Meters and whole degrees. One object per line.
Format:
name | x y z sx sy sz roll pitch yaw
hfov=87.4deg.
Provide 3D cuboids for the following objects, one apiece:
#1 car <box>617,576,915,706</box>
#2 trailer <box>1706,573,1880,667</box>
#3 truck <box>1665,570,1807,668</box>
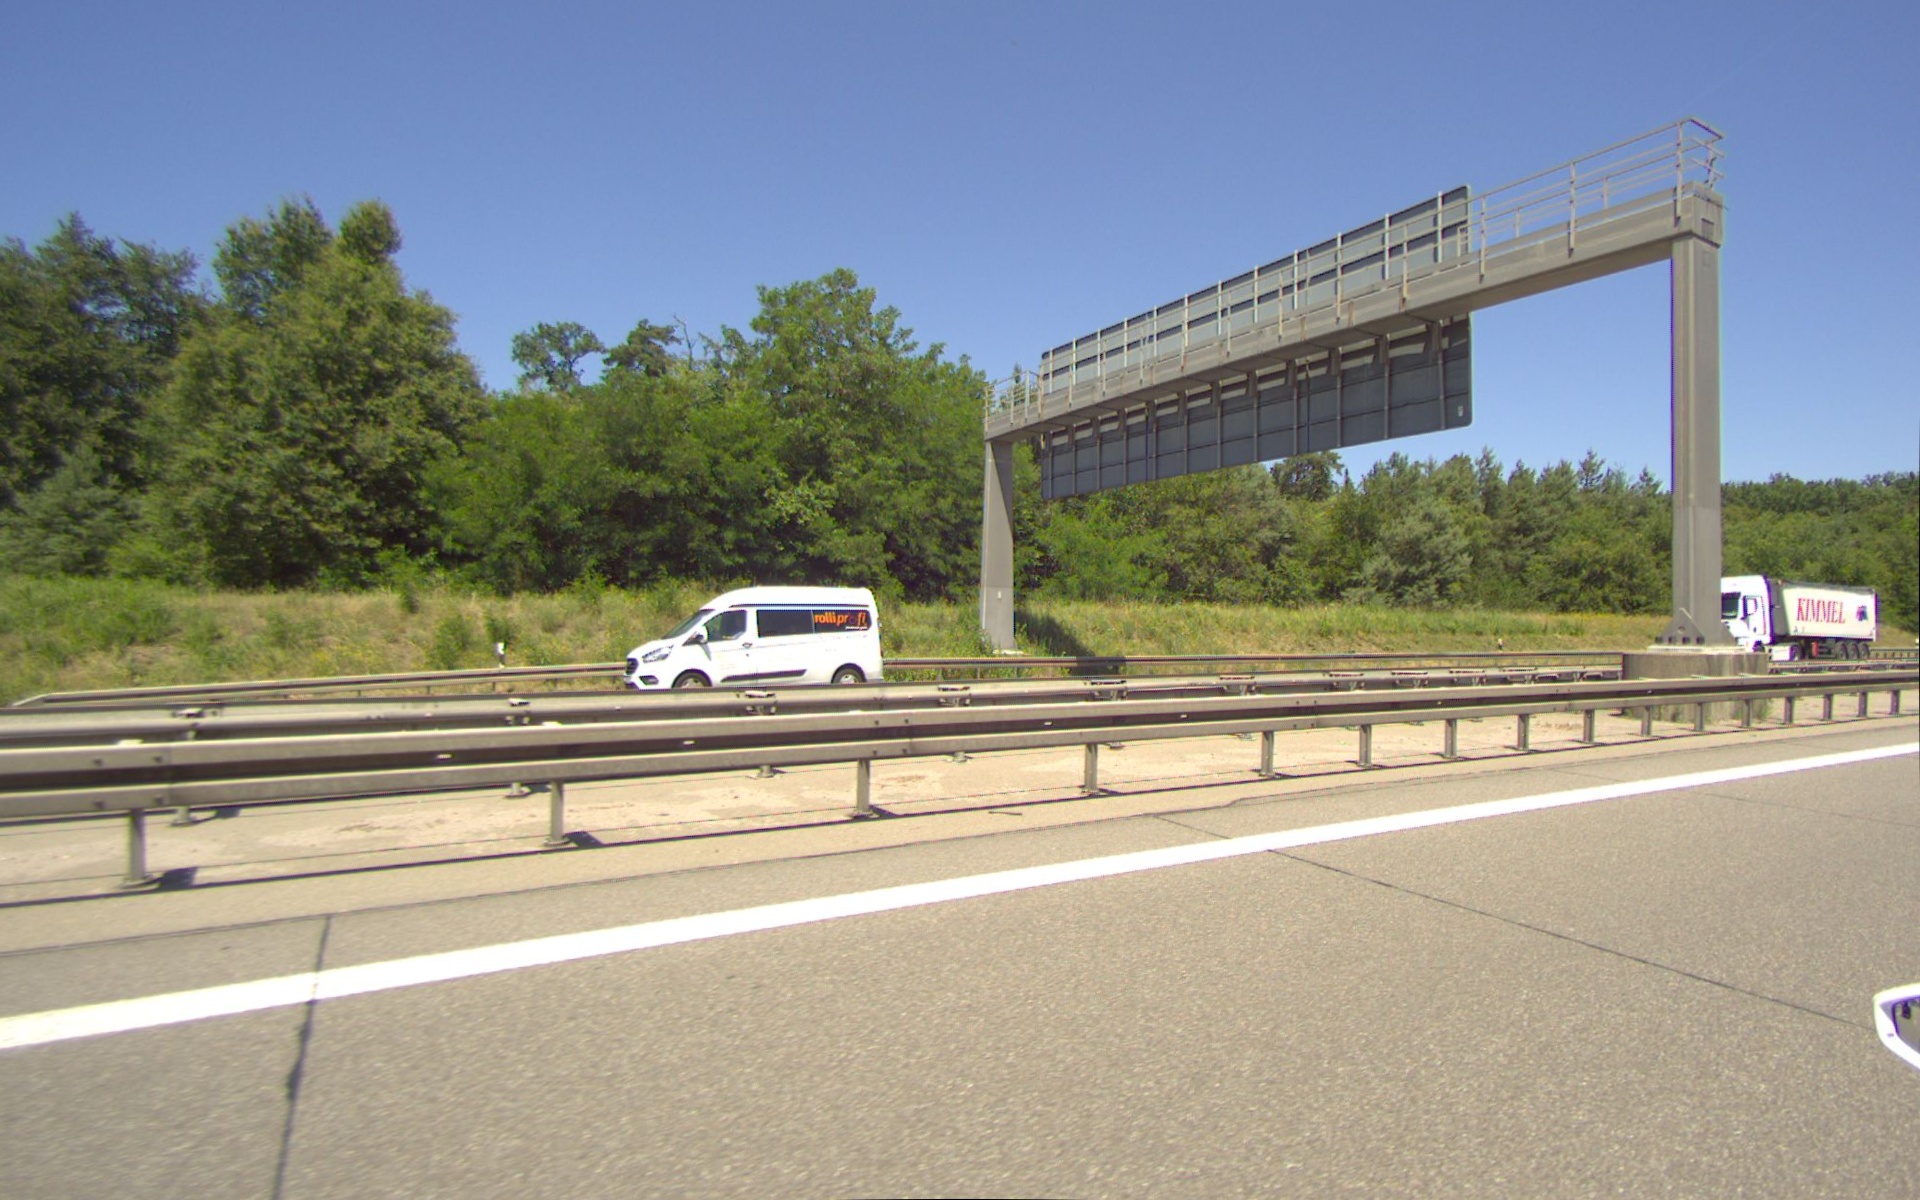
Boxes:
car | -3.914 0.854 20.756 5.744 2.371 1.978 1 -3 -32
trailer | 38.986 1.010 46.858 11.028 4.000 2.613 1 -3 -31
truck | 33.804 0.898 43.714 6.408 4.000 2.613 1 -3 -31
